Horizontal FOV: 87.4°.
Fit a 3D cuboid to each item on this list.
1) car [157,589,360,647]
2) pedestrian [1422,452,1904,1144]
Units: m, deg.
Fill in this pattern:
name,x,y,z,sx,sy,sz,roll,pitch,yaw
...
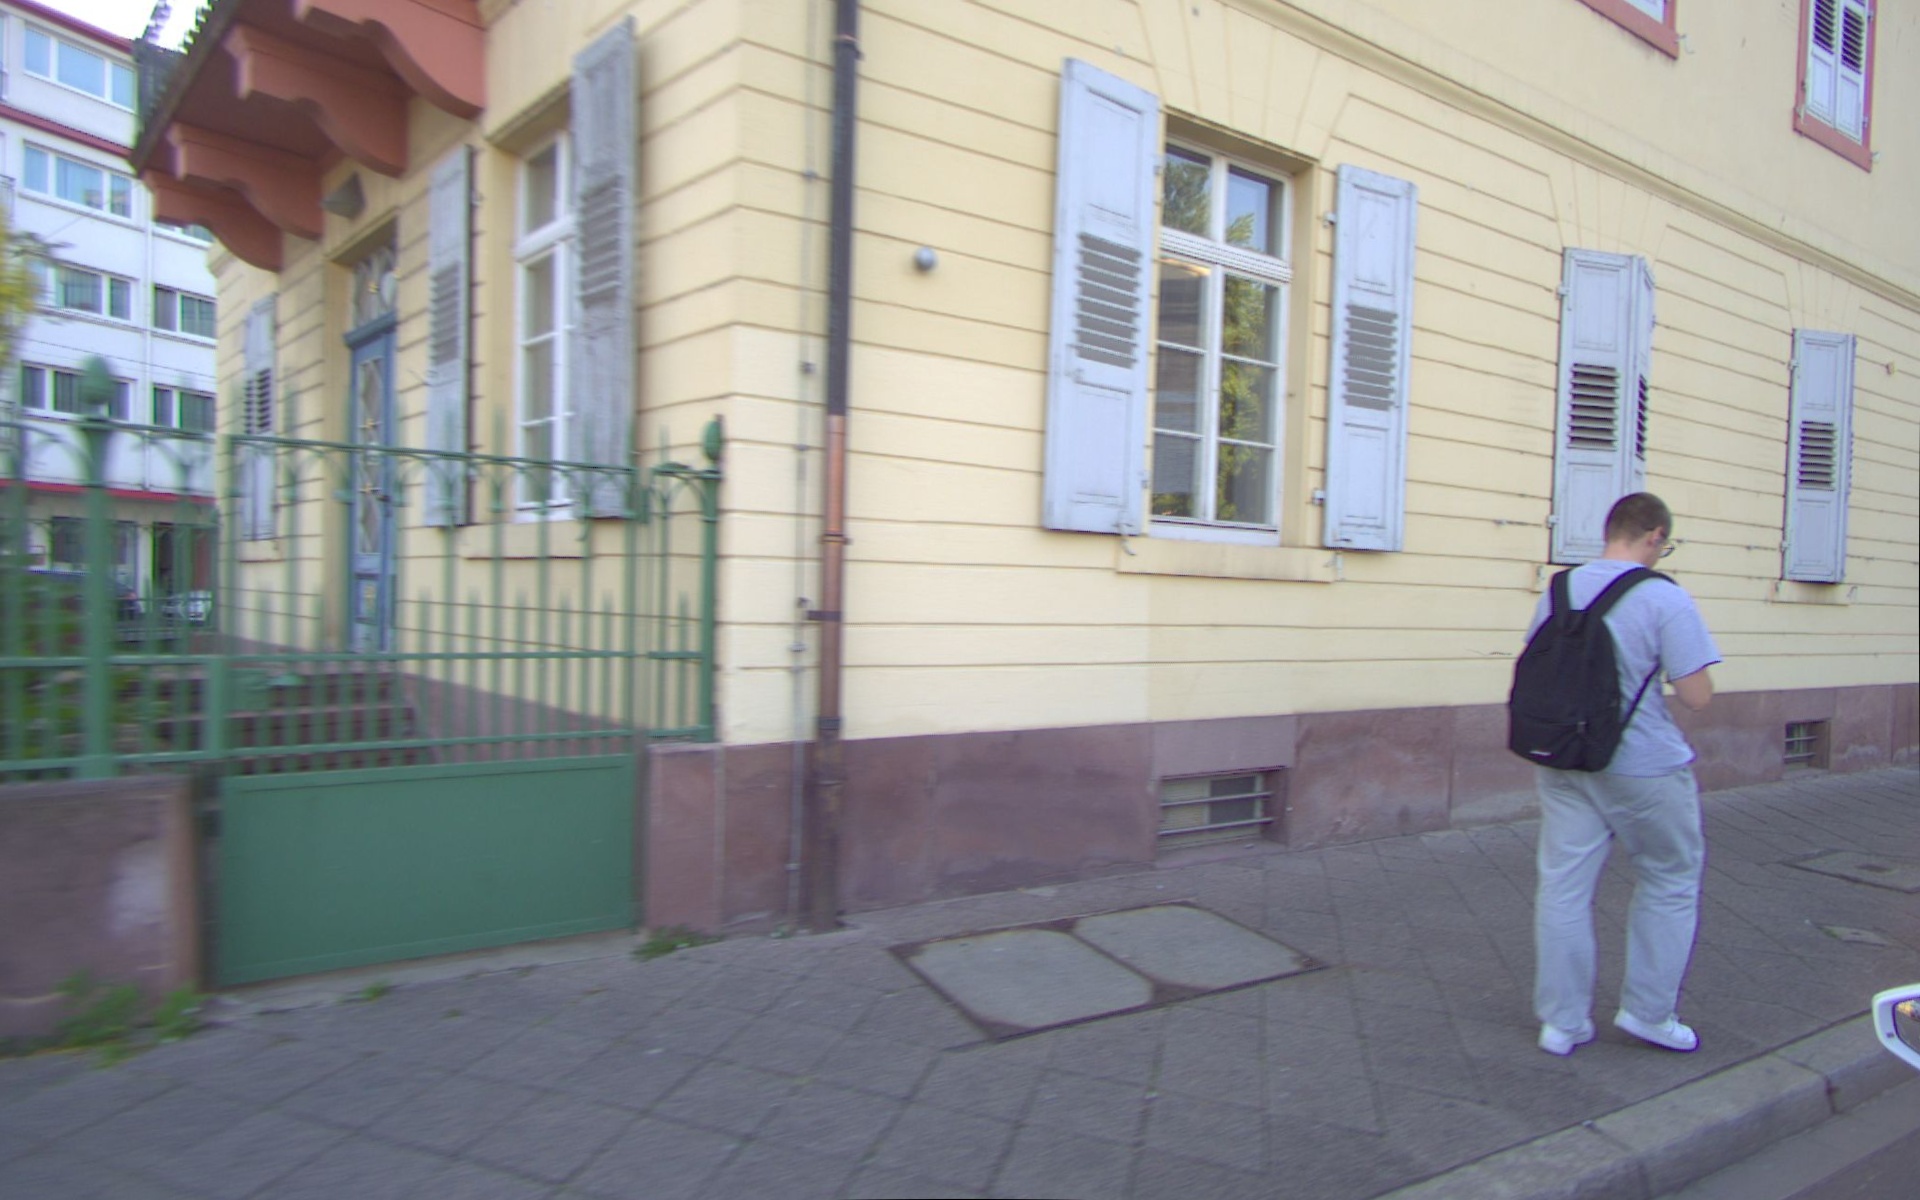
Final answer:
name,x,y,z,sx,sy,sz,roll,pitch,yaw
car,-19.999,0.463,28.848,1.964,1.484,4.394,2,1,29
pedestrian,2.115,0.501,3.101,0.818,1.747,0.873,1,1,-26
